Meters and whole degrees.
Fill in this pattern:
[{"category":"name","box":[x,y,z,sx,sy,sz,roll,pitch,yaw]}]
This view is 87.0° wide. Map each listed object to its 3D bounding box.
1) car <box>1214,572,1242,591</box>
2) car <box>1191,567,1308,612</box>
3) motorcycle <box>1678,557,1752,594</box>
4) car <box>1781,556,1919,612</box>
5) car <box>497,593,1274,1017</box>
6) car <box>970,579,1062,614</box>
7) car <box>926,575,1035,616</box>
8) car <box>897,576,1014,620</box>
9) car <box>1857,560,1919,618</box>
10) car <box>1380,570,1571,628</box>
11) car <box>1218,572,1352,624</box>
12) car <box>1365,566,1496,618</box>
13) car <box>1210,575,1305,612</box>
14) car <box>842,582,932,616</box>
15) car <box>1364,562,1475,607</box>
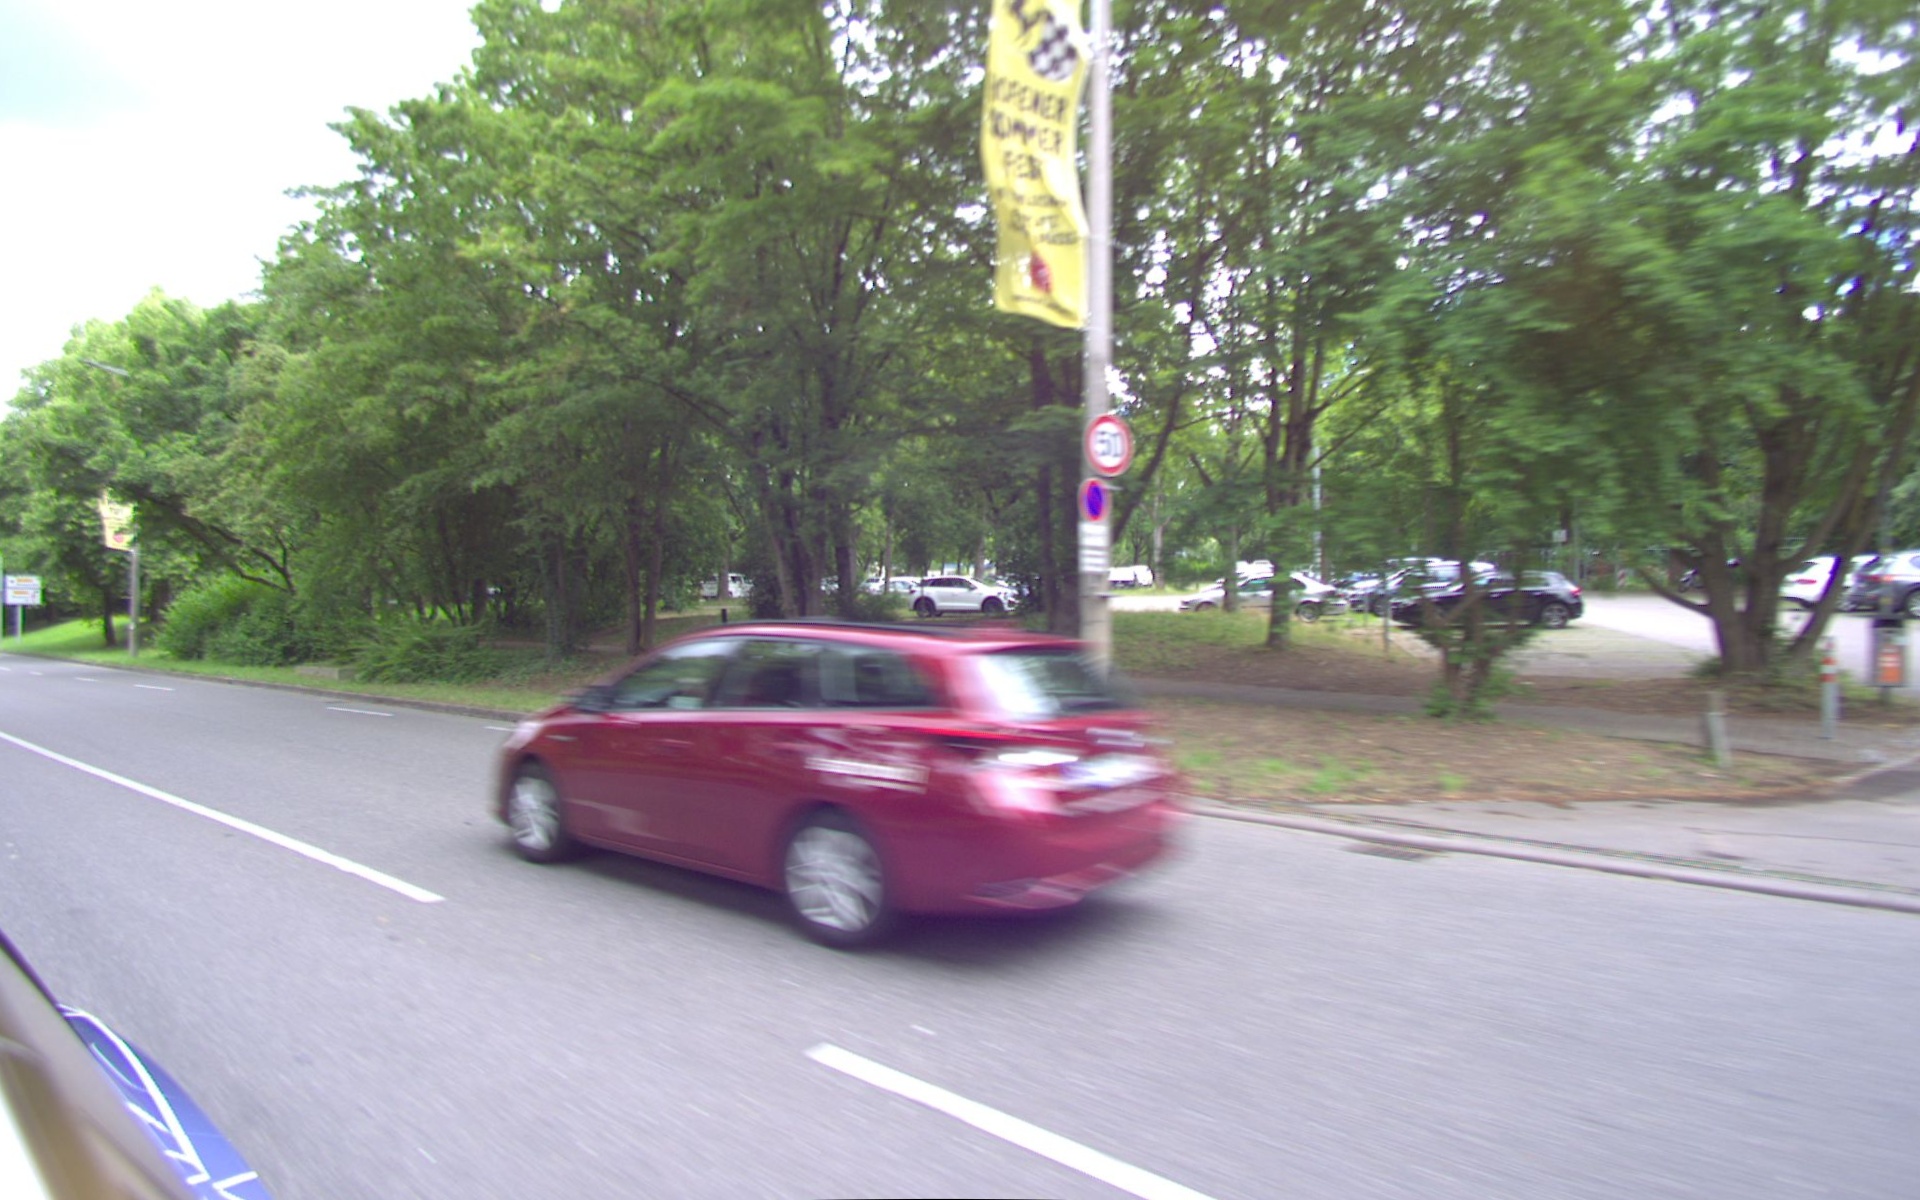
[{"category":"car","box":[19.400,-1.330,73.295,1.886,1.219,3.965,-1,0,16]},{"category":"car","box":[10.463,-0.370,36.641,3.966,1.497,1.642,-1,0,17]},{"category":"motorcycle","box":[28.825,-0.910,38.670,2.186,1.333,0.716,-1,0,42]},{"category":"car","box":[23.927,-0.420,26.852,3.047,1.378,1.259,-1,1,20]},{"category":"car","box":[-0.662,0.763,5.466,4.193,1.439,1.699,-1,-3,40]},{"category":"car","box":[2.606,-0.165,46.687,3.966,1.497,1.642,-1,0,17]},{"category":"car","box":[0.814,-0.159,39.844,3.966,1.497,1.642,-1,0,17]},{"category":"car","box":[-0.141,-0.061,37.049,3.966,1.497,1.642,-1,0,17]},{"category":"car","box":[23.684,-0.293,24.211,3.047,1.371,1.259,-1,1,20]},{"category":"car","box":[12.902,-0.030,25.584,4.092,1.350,1.433,-1,1,20]},{"category":"car","box":[9.342,-0.065,29.349,3.553,1.391,1.641,-1,1,14]},{"category":"car","box":[13.964,-0.243,30.220,3.353,1.425,1.530,-1,1,20]},{"category":"car","box":[11.915,-0.284,40.710,3.553,1.364,1.641,-1,1,14]},{"category":"car","box":[-3.500,-0.033,48.385,3.966,1.497,1.642,-1,0,17]},{"category":"car","box":[15.821,-0.524,34.999,3.353,1.425,1.530,-1,1,20]}]
